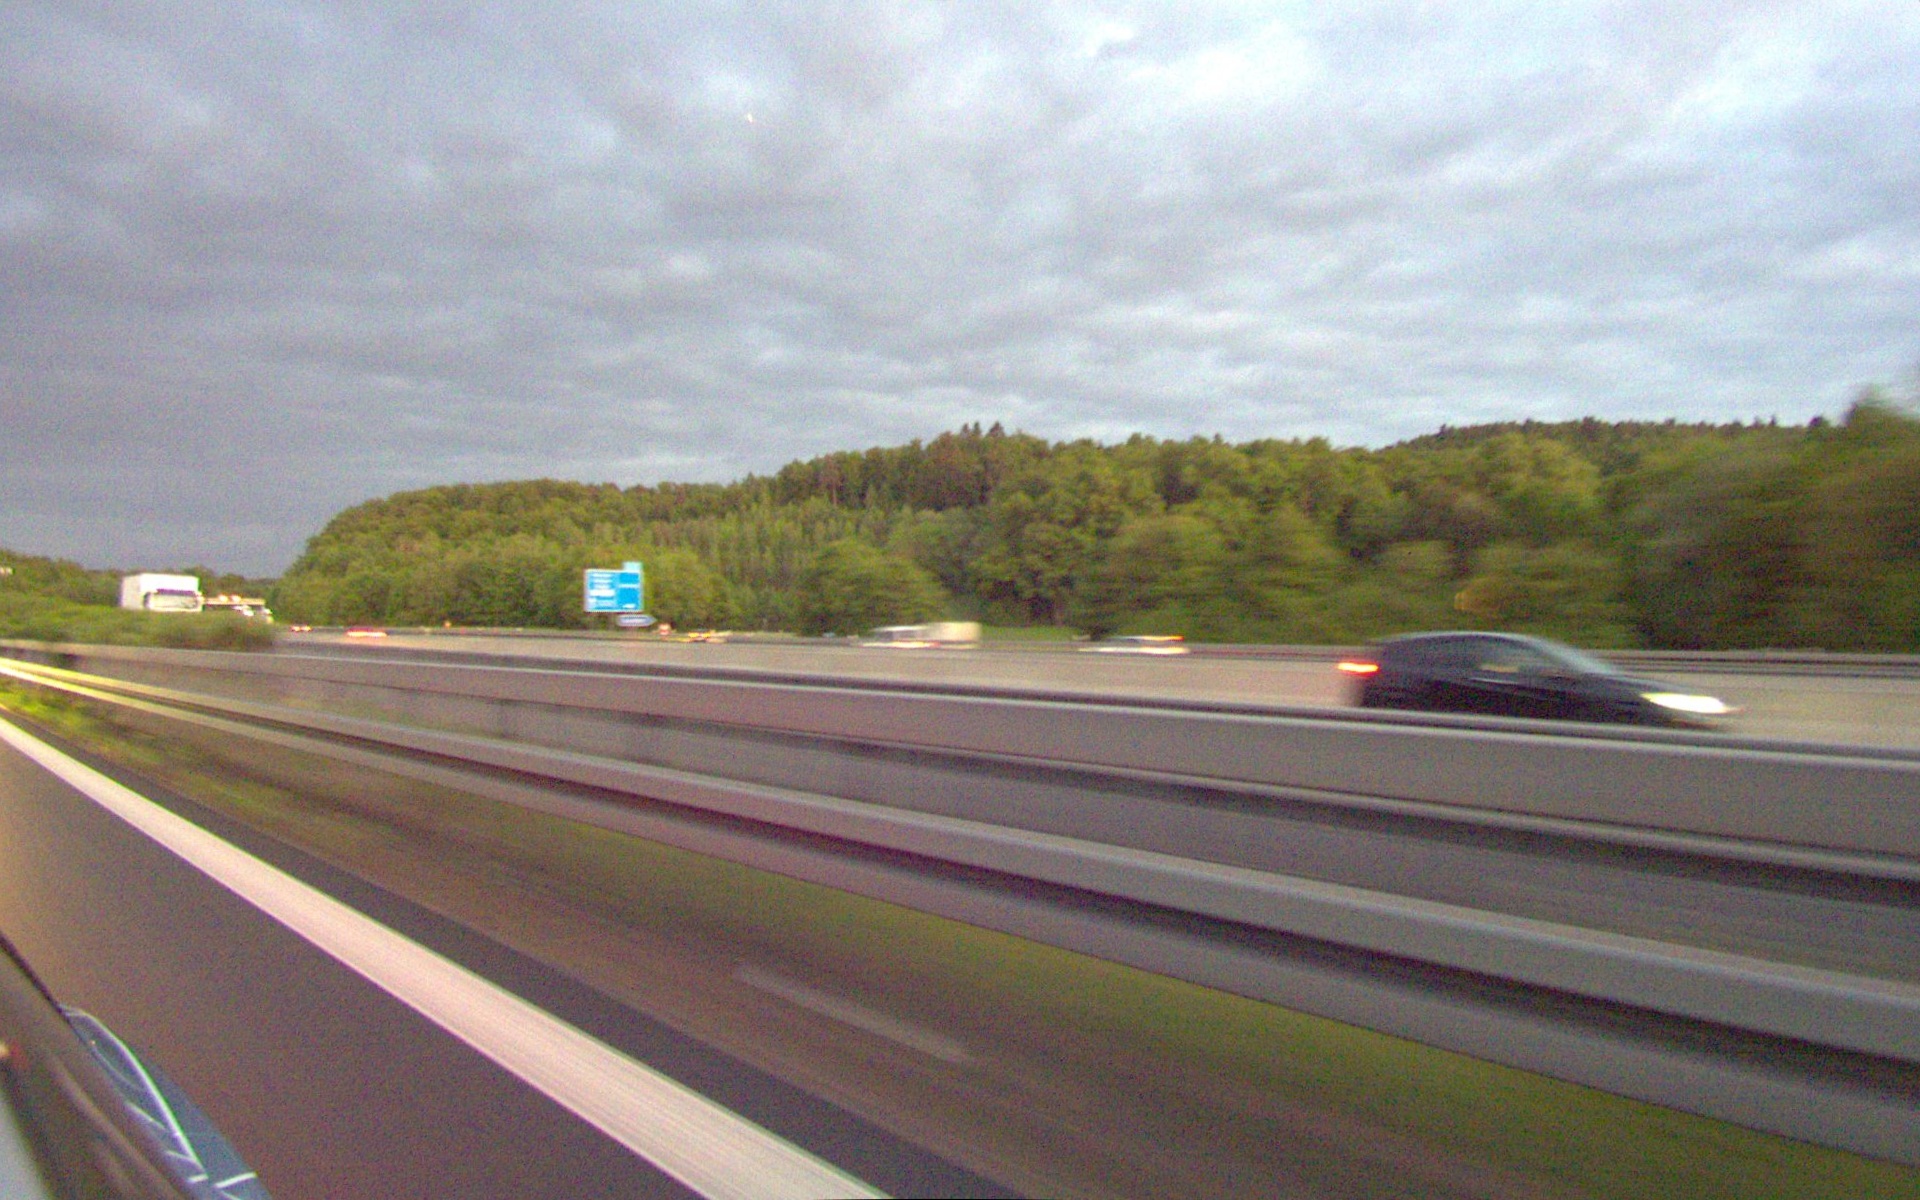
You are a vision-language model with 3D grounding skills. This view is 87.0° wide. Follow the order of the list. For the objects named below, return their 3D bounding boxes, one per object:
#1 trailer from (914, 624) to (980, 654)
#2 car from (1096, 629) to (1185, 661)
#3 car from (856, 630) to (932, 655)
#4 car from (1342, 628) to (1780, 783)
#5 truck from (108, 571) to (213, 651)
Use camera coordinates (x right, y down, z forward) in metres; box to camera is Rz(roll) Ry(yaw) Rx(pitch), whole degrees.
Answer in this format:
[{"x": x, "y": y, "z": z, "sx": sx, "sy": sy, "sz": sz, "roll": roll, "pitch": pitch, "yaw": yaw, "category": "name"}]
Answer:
[{"x": -0.763, "y": 2.184, "z": 57.097, "sx": 3.595, "sy": 1.608, "sz": 1.520, "roll": -1, "pitch": -2, "yaw": 39, "category": "trailer"}, {"x": 9.390, "y": 2.328, "z": 52.849, "sx": 4.307, "sy": 1.608, "sz": 1.748, "roll": -1, "pitch": -2, "yaw": 41, "category": "car"}, {"x": -3.896, "y": 2.483, "z": 59.670, "sx": 4.462, "sy": 1.454, "sz": 1.818, "roll": -1, "pitch": -2, "yaw": 39, "category": "car"}, {"x": 7.435, "y": 1.166, "z": 12.815, "sx": 4.518, "sy": 1.573, "sz": 1.852, "roll": -1, "pitch": -2, "yaw": 42, "category": "car"}, {"x": -47.158, "y": 0.678, "z": 59.561, "sx": 9.887, "sy": 4.334, "sz": 3.006, "roll": -1, "pitch": -2, "yaw": 41, "category": "truck"}]
